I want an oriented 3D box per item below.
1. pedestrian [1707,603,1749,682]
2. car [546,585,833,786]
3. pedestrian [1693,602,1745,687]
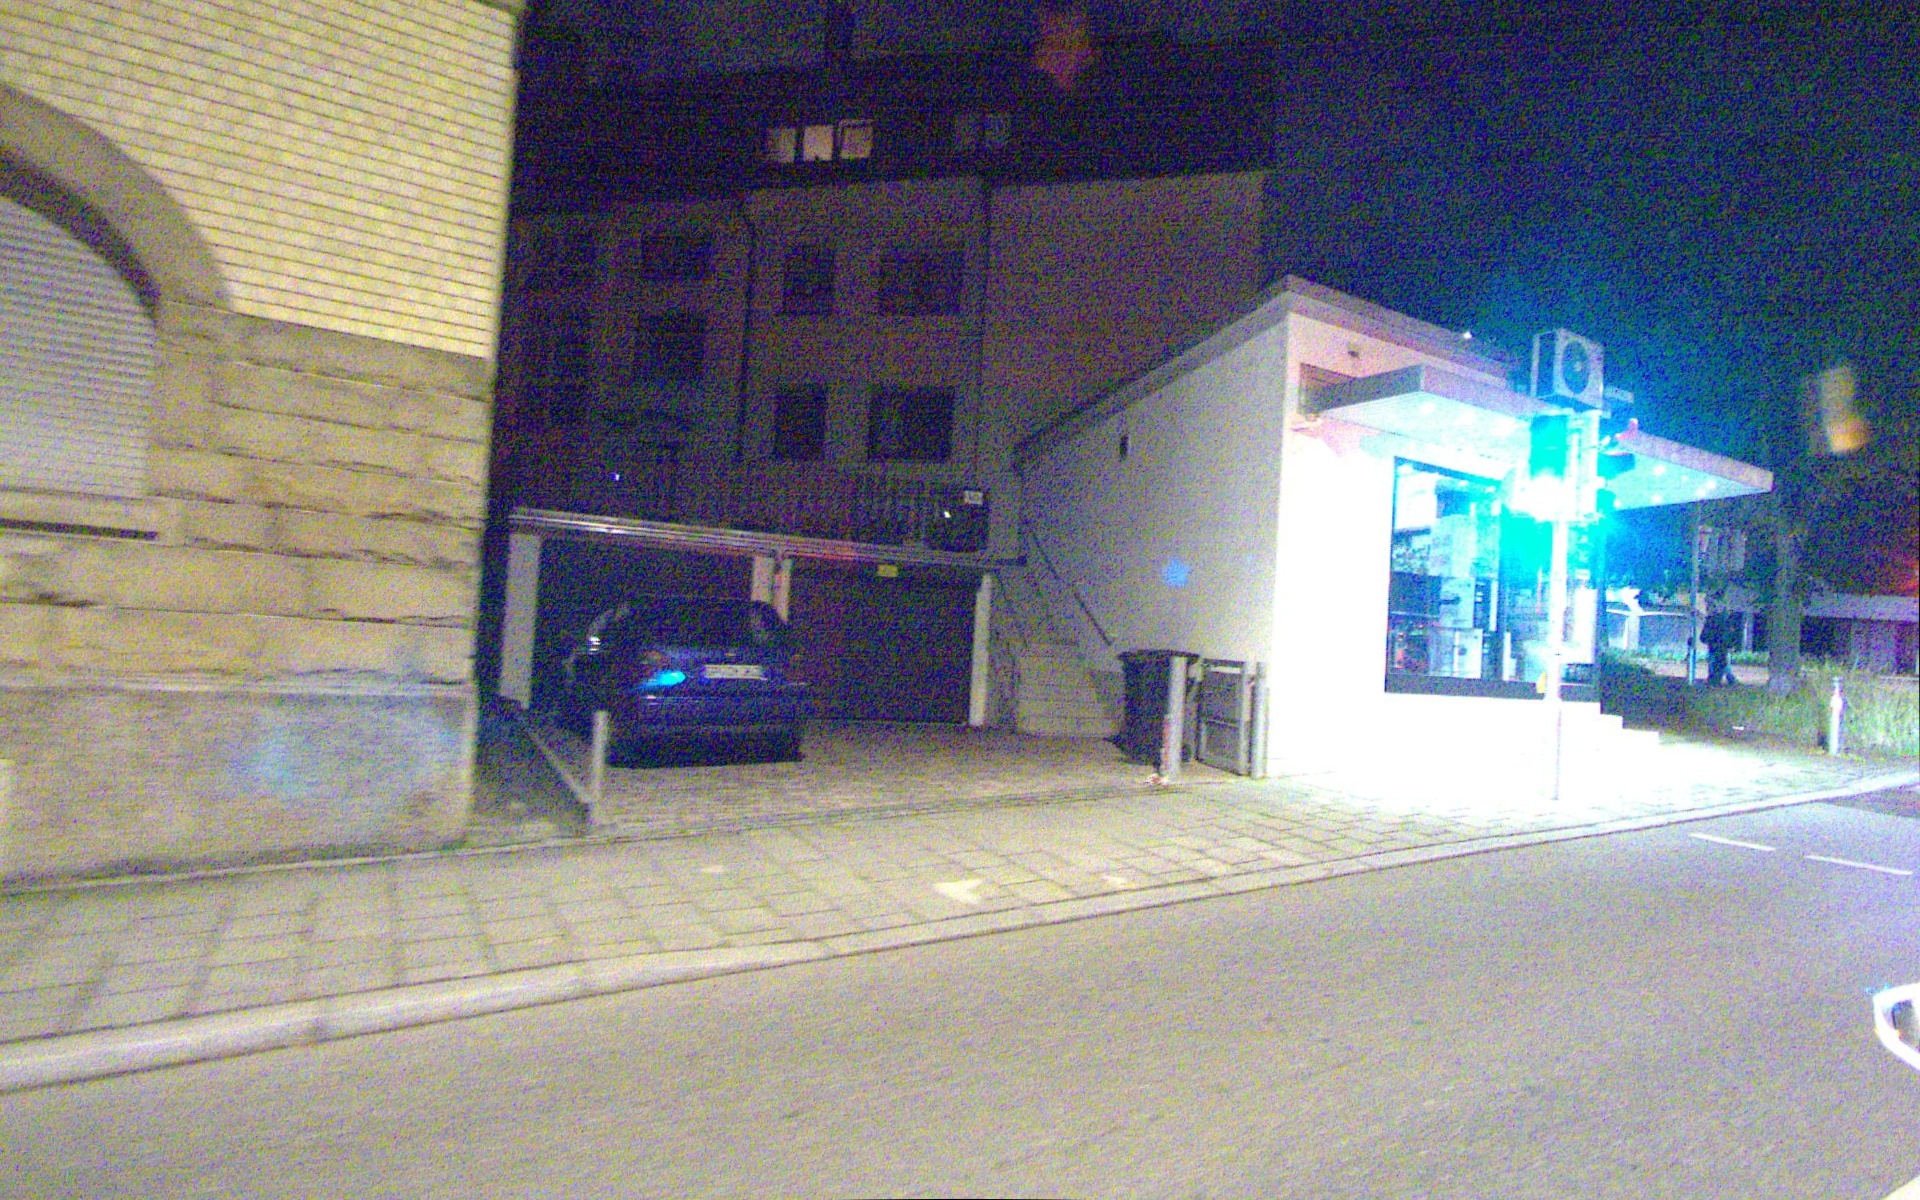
[{"bbox_3d":[17.452,0.963,22.831,0.537,1.754,0.567,2,0,-30],"label":"pedestrian"},{"bbox_3d":[-2.711,0.640,9.465,1.700,1.460,3.631,2,0,-30],"label":"car"},{"bbox_3d":[16.521,0.966,21.869,0.729,1.801,0.567,2,2,-30],"label":"pedestrian"}]
